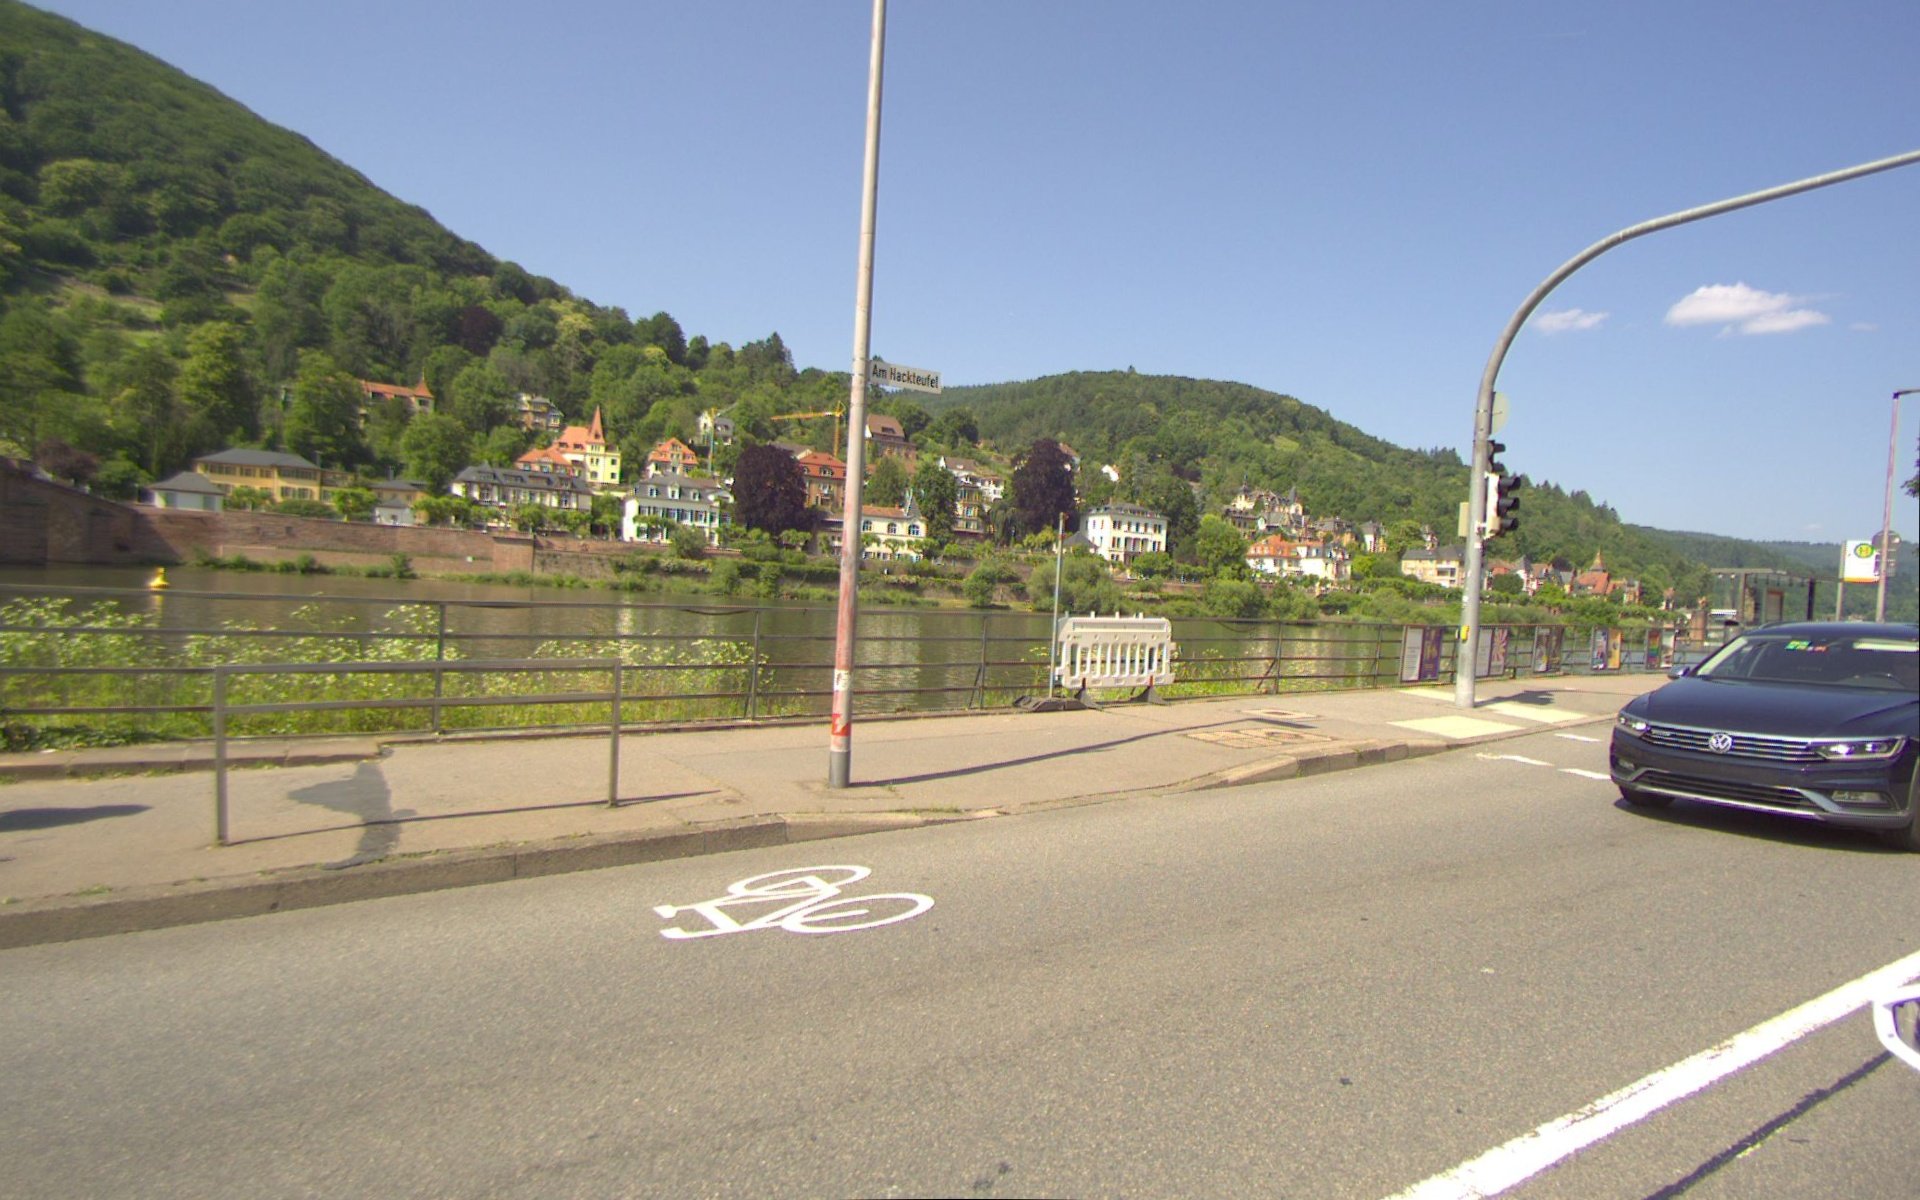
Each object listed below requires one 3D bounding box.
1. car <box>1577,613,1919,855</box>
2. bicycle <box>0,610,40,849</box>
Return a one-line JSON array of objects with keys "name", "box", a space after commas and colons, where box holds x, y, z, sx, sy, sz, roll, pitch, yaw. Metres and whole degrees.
[{"name": "car", "box": [7.003, 0.873, 8.020, 4.308, 1.425, 1.799, 2, 0, -32]}, {"name": "bicycle", "box": [-5.495, 0.608, 4.466, 2.017, 1.128, 0.661, 1, 0, -40]}]
